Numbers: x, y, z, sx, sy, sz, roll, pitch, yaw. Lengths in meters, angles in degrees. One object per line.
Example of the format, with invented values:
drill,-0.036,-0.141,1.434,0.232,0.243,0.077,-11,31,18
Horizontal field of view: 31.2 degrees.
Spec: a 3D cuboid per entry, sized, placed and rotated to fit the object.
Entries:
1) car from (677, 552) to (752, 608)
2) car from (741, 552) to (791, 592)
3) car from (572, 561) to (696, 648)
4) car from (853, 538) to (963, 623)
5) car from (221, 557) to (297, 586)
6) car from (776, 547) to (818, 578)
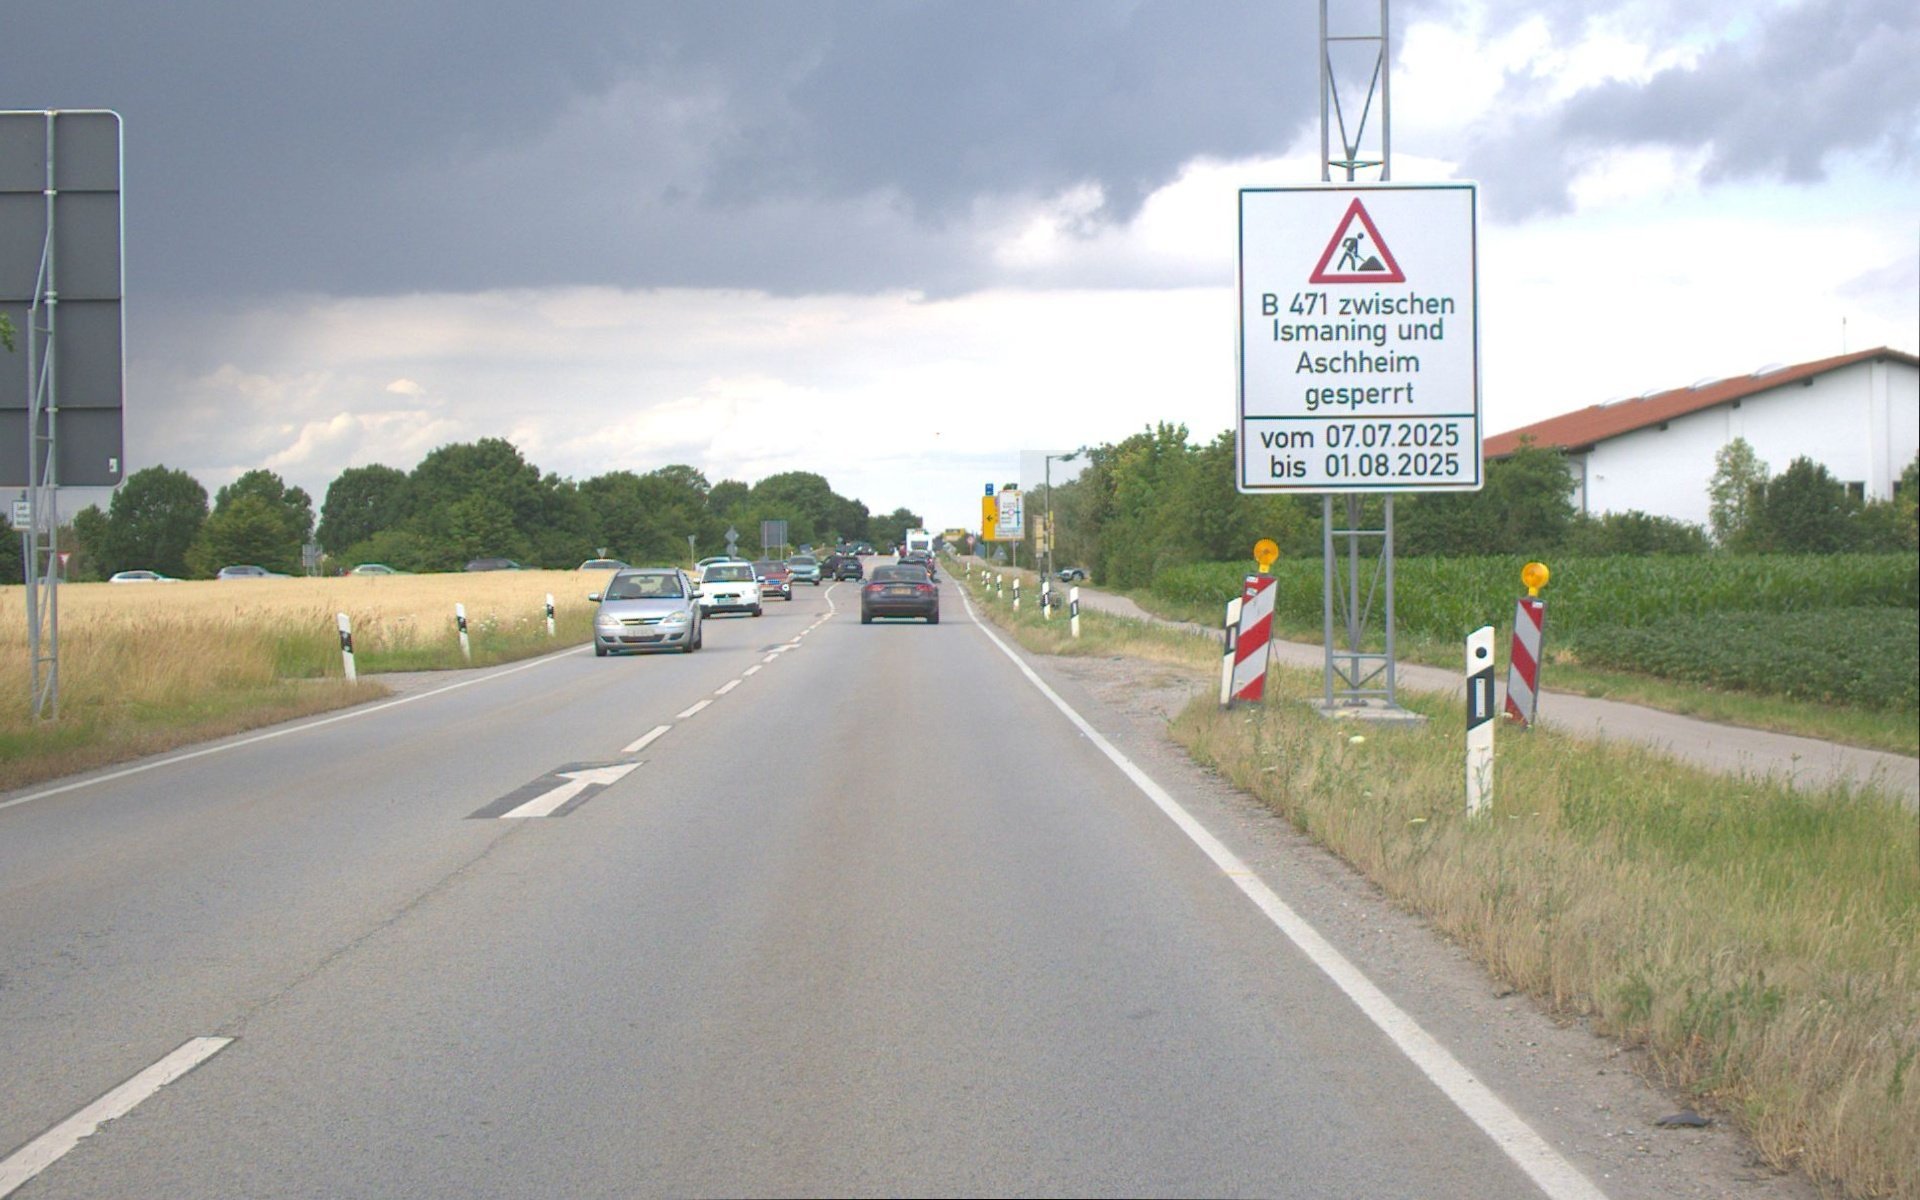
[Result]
car,-6.729,-0.570,94.608,1.806,1.451,4.114,-1,1,-1
car,-7.505,-1.116,133.394,1.712,1.483,4.608,-1,1,-1
car,-5.423,0.046,57.609,1.728,1.359,3.950,-1,1,-1
car,-1.275,-0.475,81.703,2.371,1.874,4.478,-2,1,-3
car,-41.886,-1.689,205.470,4.072,1.643,1.866,-1,1,4
car,-8.820,-2.062,186.486,2.065,1.575,4.765,-2,1,-1
